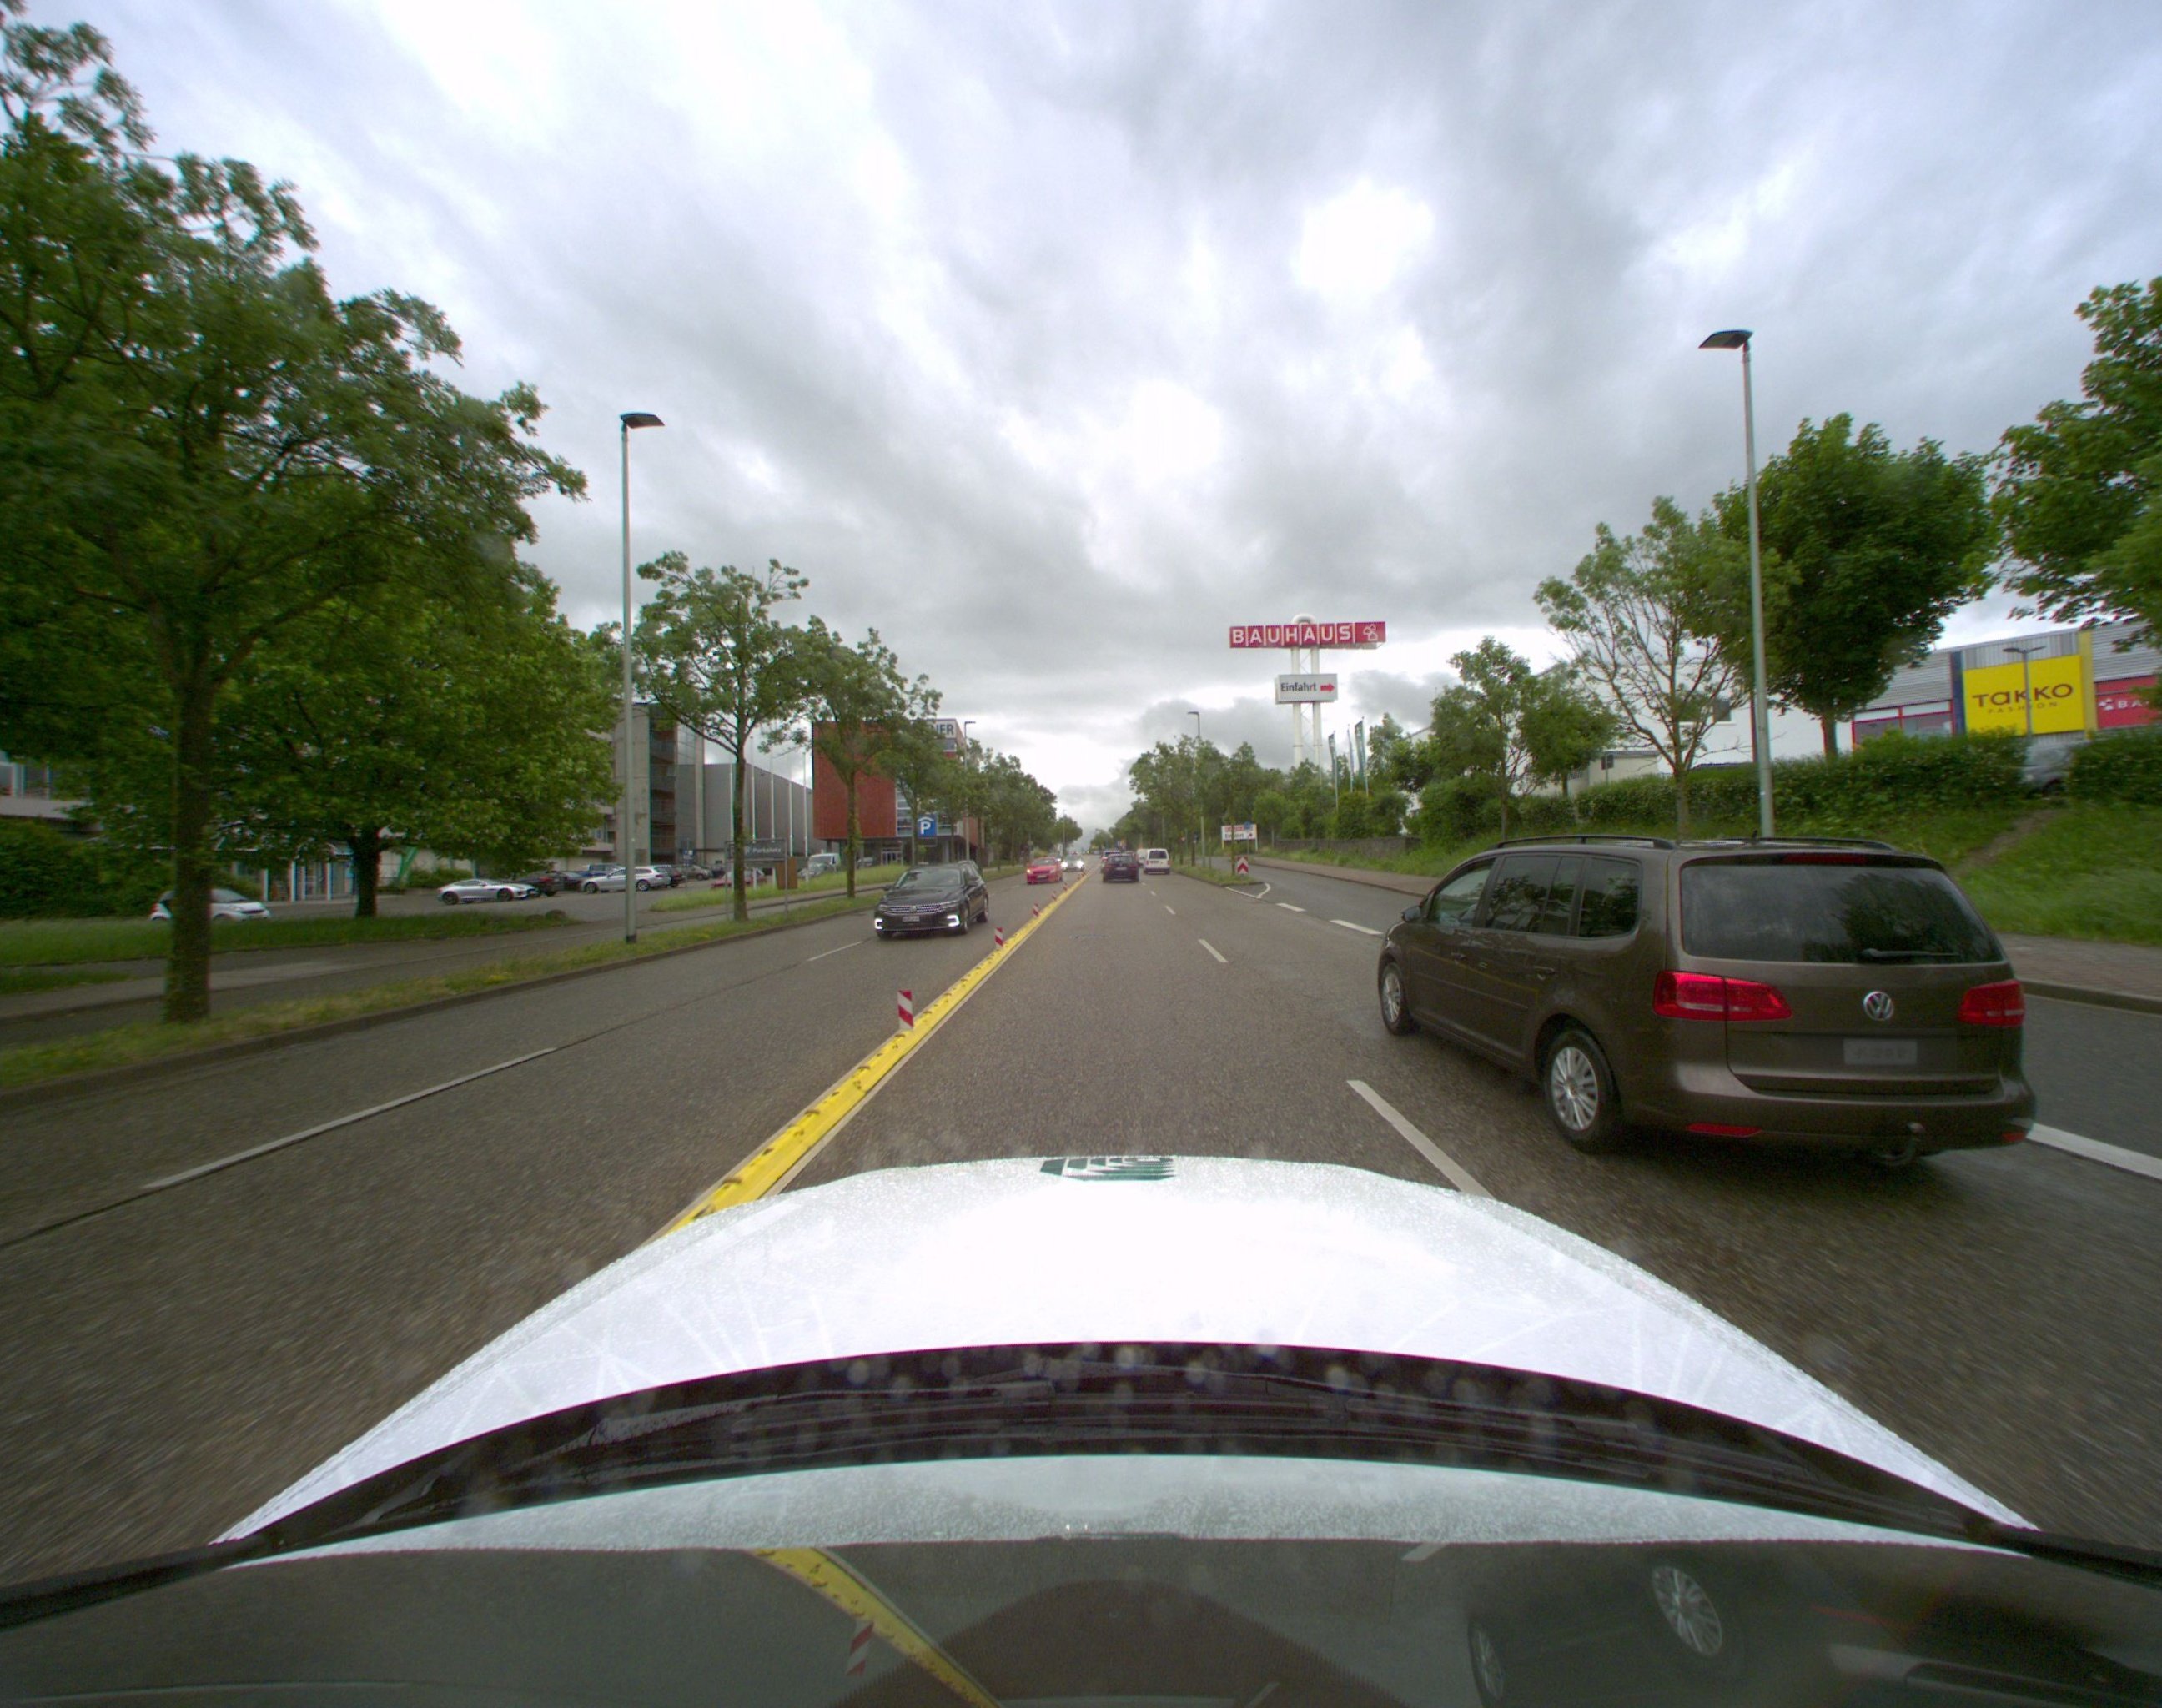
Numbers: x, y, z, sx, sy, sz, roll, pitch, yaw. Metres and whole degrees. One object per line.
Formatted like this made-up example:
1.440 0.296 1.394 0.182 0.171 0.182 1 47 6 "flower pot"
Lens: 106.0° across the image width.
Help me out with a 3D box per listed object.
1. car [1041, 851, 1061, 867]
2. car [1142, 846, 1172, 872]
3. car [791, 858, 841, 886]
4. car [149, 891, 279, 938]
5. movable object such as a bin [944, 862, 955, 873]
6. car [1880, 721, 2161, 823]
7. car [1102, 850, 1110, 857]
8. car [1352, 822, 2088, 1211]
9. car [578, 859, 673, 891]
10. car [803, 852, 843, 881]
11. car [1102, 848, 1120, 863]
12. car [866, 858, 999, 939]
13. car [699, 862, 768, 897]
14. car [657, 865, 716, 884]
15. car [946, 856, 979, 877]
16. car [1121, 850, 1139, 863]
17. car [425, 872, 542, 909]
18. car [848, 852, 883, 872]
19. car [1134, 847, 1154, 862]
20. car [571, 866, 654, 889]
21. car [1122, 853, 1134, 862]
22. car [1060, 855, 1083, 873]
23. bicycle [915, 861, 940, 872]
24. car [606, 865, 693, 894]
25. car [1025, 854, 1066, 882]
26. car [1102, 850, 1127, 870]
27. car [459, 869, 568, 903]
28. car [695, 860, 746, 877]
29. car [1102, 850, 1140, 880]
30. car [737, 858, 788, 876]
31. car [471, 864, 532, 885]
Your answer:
-3.351 0.518 91.343 1.780 1.614 4.439 -4 0 2 "car"
5.344 0.332 57.665 1.820 1.759 4.001 0 0 1 "car"
-19.093 1.283 58.958 2.033 1.762 4.943 0 1 -1 "car"
-31.188 2.156 29.370 2.695 1.365 1.606 -3 2 -9 "car"
-12.664 1.293 78.668 0.816 1.079 1.086 2 0 2 "movable object such as a bin"
19.827 -1.689 17.079 4.339 1.629 1.925 -5 0 -4 "car"
5.753 -0.100 185.235 1.788 1.510 4.000 0 -1 0 "car"
3.350 0.670 5.482 1.679 1.581 4.219 -1 0 1 "car"
-27.489 1.255 49.269 4.594 1.745 1.963 -1 1 -7 "car"
-20.403 0.967 64.651 2.112 2.095 5.110 -1 1 -7 "car"
3.151 0.183 86.011 1.788 1.510 4.000 0 -1 1 "car"
-3.112 0.872 18.051 1.820 1.466 4.619 -3 0 3 "car"
-18.622 1.322 43.897 1.929 1.608 4.706 0 1 -3 "car"
-34.718 1.759 71.754 4.271 1.510 1.843 -1 1 -7 "car"
-9.923 1.057 68.336 1.860 1.553 4.577 -4 0 1 "car"
5.734 0.331 95.267 1.789 1.510 3.998 0 -1 -1 "car"
-32.009 1.924 43.772 4.599 1.745 1.961 -1 1 -10 "car"
-21.011 0.766 79.630 2.131 1.773 4.607 0 1 0 "car"
6.267 0.074 81.402 1.787 1.510 4.001 0 -1 2 "car"
-33.116 1.645 57.671 4.605 1.510 2.021 -1 1 -7 "car"
7.758 0.570 134.827 1.789 1.510 3.998 0 -1 -1 "car"
-0.779 0.819 70.718 1.660 1.410 4.380 -4 -1 2 "car"
-14.626 1.153 77.790 2.066 0.935 1.095 3 0 5 "bicycle"
-27.571 1.612 52.132 4.494 1.745 1.896 -1 1 -7 "car"
-1.888 0.736 44.980 1.754 1.425 4.184 -2 0 4 "car"
2.557 0.464 62.551 1.787 1.510 4.001 0 -1 2 "car"
-32.503 1.805 46.758 4.599 1.745 2.127 -1 1 -10 "car"
-34.509 1.382 77.985 4.104 1.510 1.815 -1 1 -7 "car"
2.089 0.559 42.566 1.820 1.468 4.003 -1 0 3 "car"
-29.957 1.215 76.647 4.104 1.510 1.815 -1 1 -7 "car"
-50.896 1.764 71.558 3.981 1.732 1.797 -1 1 -6 "car"
